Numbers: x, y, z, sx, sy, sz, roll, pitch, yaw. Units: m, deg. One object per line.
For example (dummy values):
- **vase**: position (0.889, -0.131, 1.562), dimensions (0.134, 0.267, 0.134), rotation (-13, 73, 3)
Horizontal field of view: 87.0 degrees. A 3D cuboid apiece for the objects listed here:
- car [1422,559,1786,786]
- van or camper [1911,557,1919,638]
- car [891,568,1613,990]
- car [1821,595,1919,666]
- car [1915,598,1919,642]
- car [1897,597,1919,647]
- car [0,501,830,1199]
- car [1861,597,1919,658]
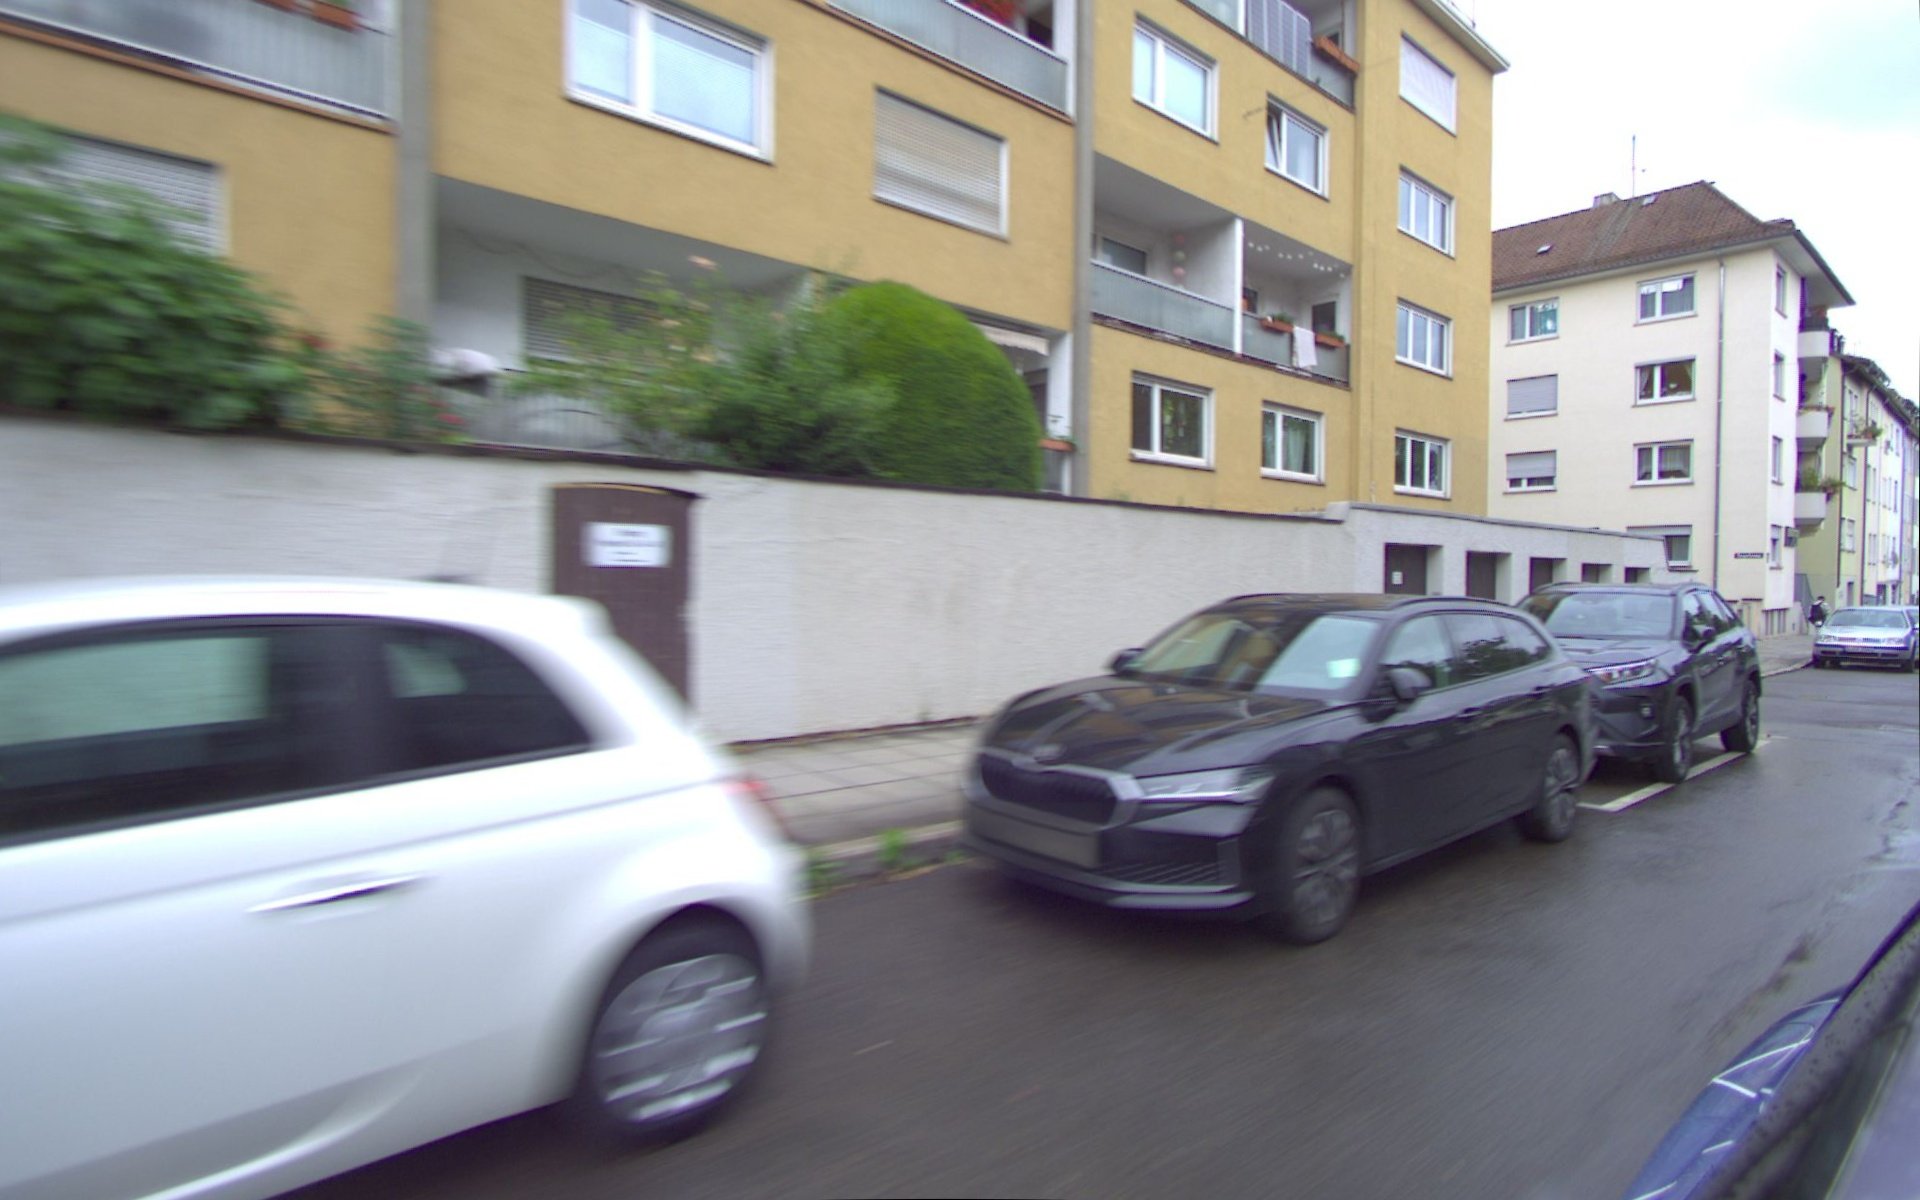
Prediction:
- **car**: position (6.292, 0.529, 9.649), dimensions (4.497, 1.667, 1.804), rotation (0, 0, -42)
- **van or camper**: position (39.992, -0.173, 40.021), dimensions (6.909, 3.095, 2.752), rotation (-2, 2, -41)
- **car**: position (1.920, 0.574, 5.723), dimensions (4.376, 1.444, 1.914), rotation (-2, 2, -42)
- **car**: position (21.169, 0.633, 23.188), dimensions (3.774, 1.395, 1.739), rotation (-2, 2, -42)
- **car**: position (34.245, 0.663, 34.816), dimensions (3.445, 1.449, 1.739), rotation (-2, 2, -42)
- **car**: position (30.820, 0.677, 31.803), dimensions (3.445, 1.449, 1.739), rotation (-2, 2, -42)
- **car**: position (-2.236, 0.559, 2.362), dimensions (3.494, 1.471, 1.688), rotation (-2, 2, -42)
- **car**: position (25.171, 0.694, 26.655), dimensions (3.904, 1.395, 1.738), rotation (-2, 2, -42)
